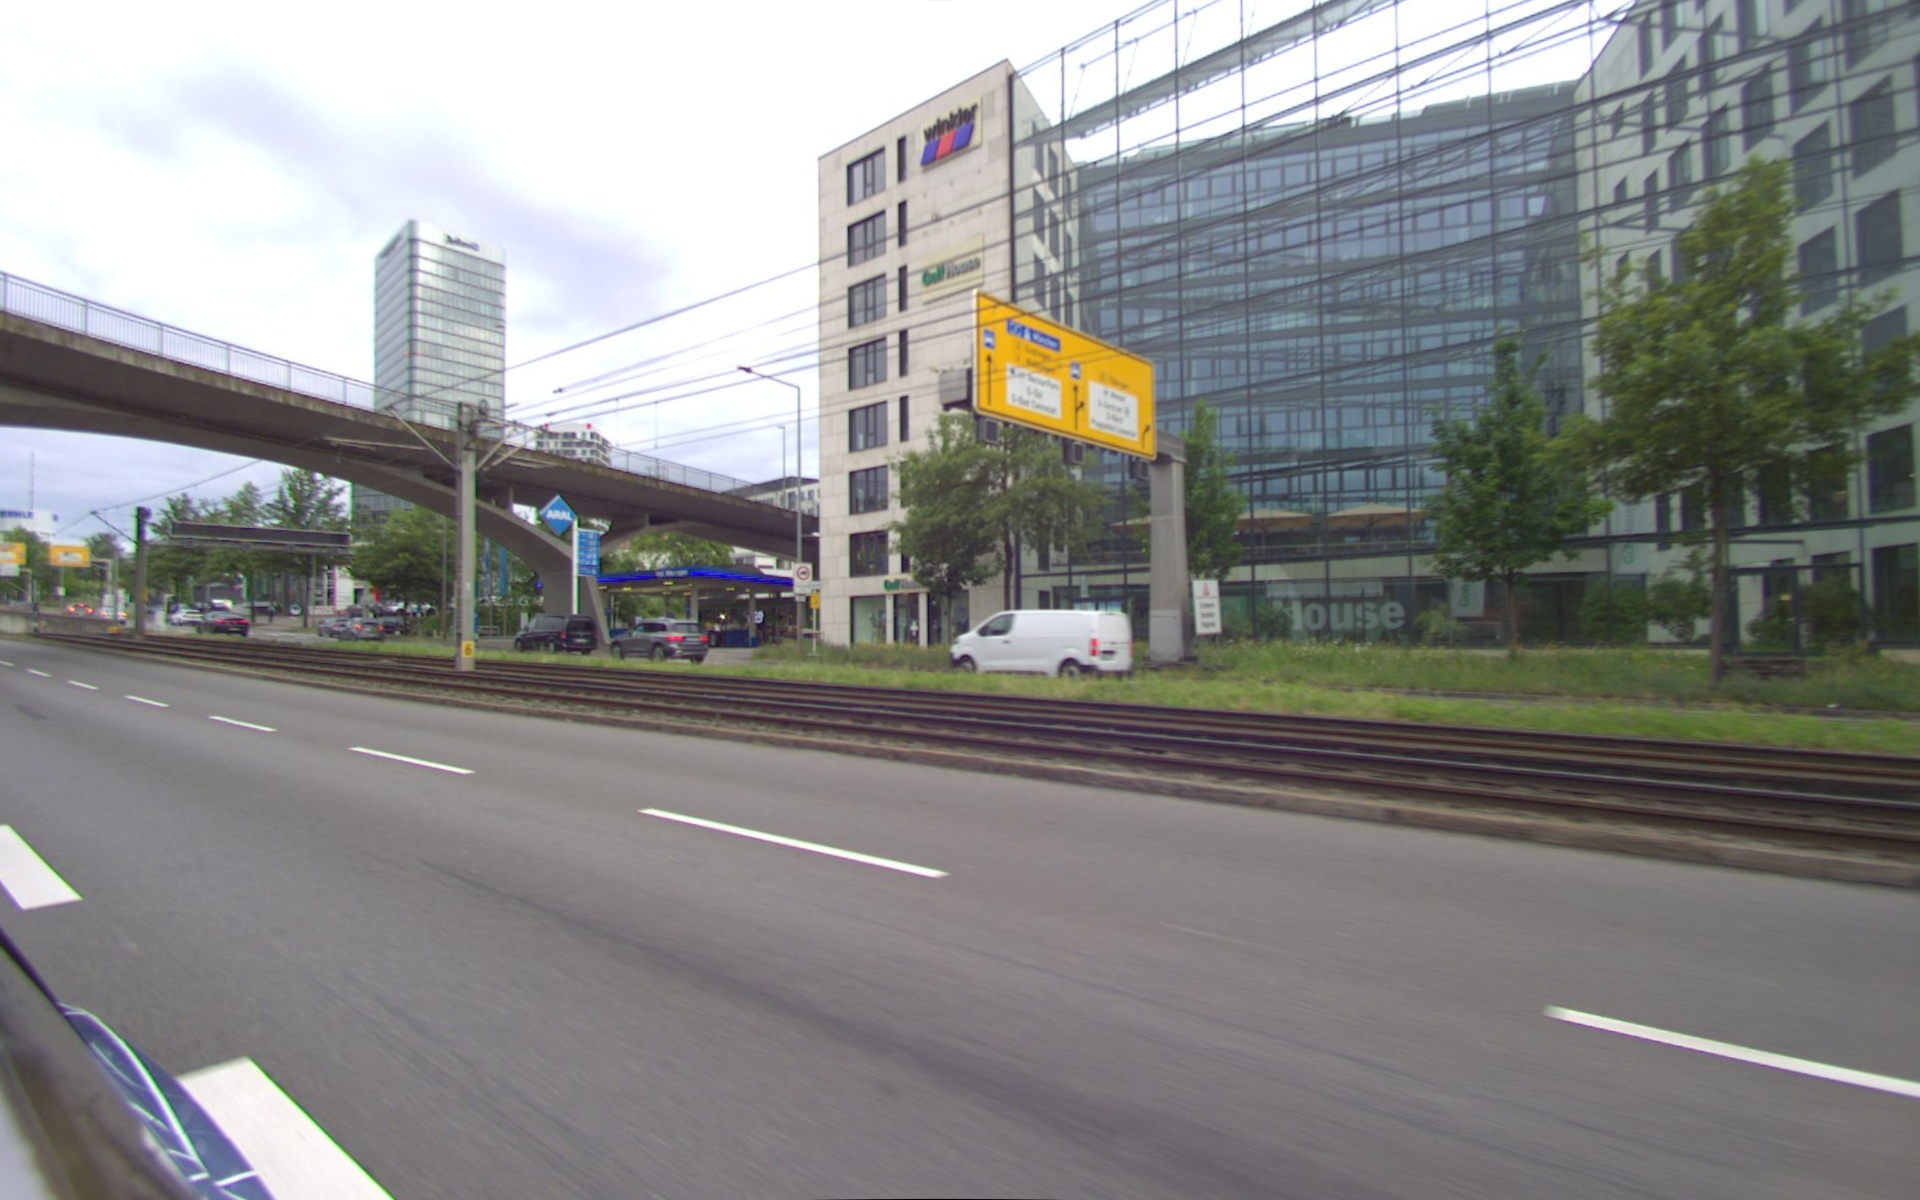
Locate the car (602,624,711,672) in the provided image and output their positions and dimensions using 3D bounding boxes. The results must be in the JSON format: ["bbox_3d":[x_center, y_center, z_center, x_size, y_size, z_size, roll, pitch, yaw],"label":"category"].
[{"bbox_3d":[-11.287,1.735,37.471,4.489,1.618,1.790,-1,-1,42],"label":"car"}]

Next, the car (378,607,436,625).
[{"bbox_3d":[-50.494,1.416,92.521,1.886,1.515,4.305,1,1,44],"label":"car"}]

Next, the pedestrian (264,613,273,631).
[{"bbox_3d":[-71.222,2.246,104.256,0.636,1.809,0.679,1,0,42],"label":"pedestrian"}]

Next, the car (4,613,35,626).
[{"bbox_3d":[-112.817,2.369,121.376,4.754,1.550,2.027,-1,-1,39],"label":"car"}]

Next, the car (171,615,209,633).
[{"bbox_3d":[-70.650,2.215,92.831,4.655,1.509,1.900,-1,-5,42],"label":"car"}]

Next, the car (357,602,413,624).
[{"bbox_3d":[-54.430,1.239,95.865,1.886,1.962,4.305,1,1,44],"label":"car"}]

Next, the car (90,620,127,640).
[{"bbox_3d":[-71.828,2.495,85.349,4.790,1.610,1.745,-1,-1,42],"label":"car"}]

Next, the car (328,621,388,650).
[{"bbox_3d":[-34.688,2.018,58.317,4.273,1.545,1.790,-1,-1,42],"label":"car"}]

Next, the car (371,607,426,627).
[{"bbox_3d":[-52.129,1.537,93.980,1.886,1.785,4.140,1,1,44],"label":"car"}]

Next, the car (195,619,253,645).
[{"bbox_3d":[-46.160,2.010,63.397,4.864,1.545,1.792,-1,-1,40],"label":"car"}]

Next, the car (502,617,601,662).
[{"bbox_3d":[-19.400,1.836,47.956,5.124,1.967,2.039,-1,-1,37],"label":"car"}]

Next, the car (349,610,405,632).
[{"bbox_3d":[-56.053,1.993,97.291,1.886,1.962,4.305,1,1,44],"label":"car"}]

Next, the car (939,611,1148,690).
[{"bbox_3d":[2.005,1.202,25.413,5.058,1.775,1.918,-1,-1,40],"label":"car"}]

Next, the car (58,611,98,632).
[{"bbox_3d":[-83.560,2.084,95.867,4.217,1.790,1.903,-2,-8,37],"label":"car"}]

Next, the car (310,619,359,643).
[{"bbox_3d":[-44.476,2.205,71.932,4.489,1.610,1.745,-1,-1,42],"label":"car"}]
